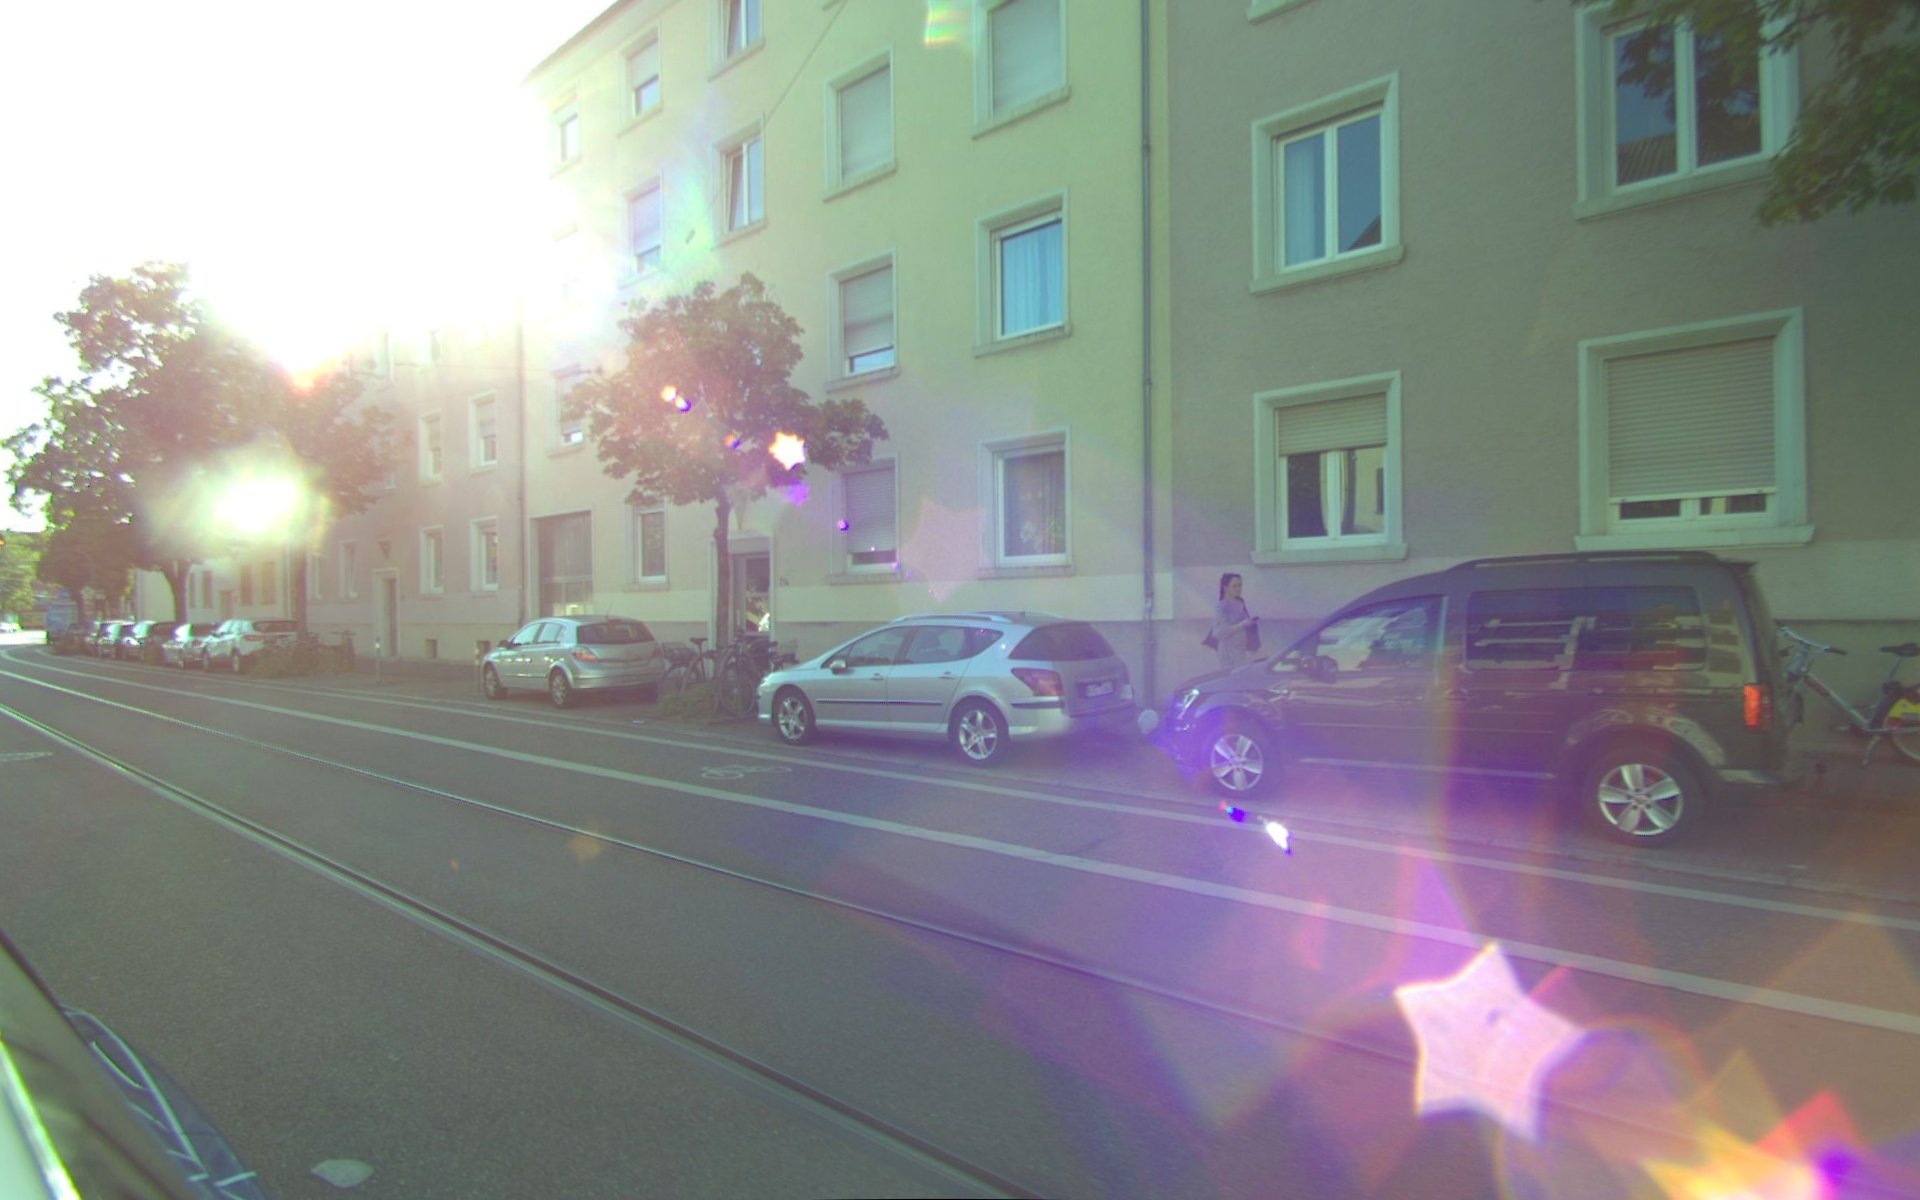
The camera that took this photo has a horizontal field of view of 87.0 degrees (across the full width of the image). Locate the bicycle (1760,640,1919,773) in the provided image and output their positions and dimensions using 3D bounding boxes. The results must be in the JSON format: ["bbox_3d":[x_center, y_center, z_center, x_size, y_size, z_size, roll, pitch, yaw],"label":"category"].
[{"bbox_3d":[7.178,0.805,7.838,1.504,0.971,0.479,-1,-1,37],"label":"bicycle"}]

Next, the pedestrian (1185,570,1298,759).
[{"bbox_3d":[2.945,0.647,10.586,0.910,1.877,0.685,-2,-1,41],"label":"pedestrian"}]

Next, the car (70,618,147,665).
[{"bbox_3d":[-34.835,1.680,41.366,4.043,1.800,1.667,-1,-1,38],"label":"car"}]

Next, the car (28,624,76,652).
[{"bbox_3d":[-51.856,2.145,57.796,3.408,1.556,1.645,-2,-1,41],"label":"car"}]

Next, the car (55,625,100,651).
[{"bbox_3d":[-54.757,2.357,62.782,3.408,1.556,1.645,-2,-1,41],"label":"car"}]

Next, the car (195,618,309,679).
[{"bbox_3d":[-20.803,1.385,29.684,4.043,1.635,1.667,-1,-1,38],"label":"car"}]

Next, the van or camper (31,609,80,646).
[{"bbox_3d":[-61.174,1.846,68.402,5.500,2.432,2.047,-2,-1,44],"label":"van or camper"}]

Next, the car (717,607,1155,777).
[{"bbox_3d":[-0.451,0.866,11.146,4.853,1.484,1.748,-2,-1,39],"label":"car"}]

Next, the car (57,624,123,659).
[{"bbox_3d":[-41.263,1.957,47.979,3.946,1.563,1.667,-1,-1,38],"label":"car"}]

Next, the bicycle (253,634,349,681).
[{"bbox_3d":[-17.641,1.527,27.144,0.530,1.151,2.123,-2,-1,37],"label":"bicycle"}]

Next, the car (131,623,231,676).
[{"bbox_3d":[-25.303,1.568,32.828,4.043,1.563,1.667,-1,-1,38],"label":"car"}]

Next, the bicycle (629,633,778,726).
[{"bbox_3d":[-3.677,1.102,14.680,0.659,1.151,2.124,-2,0,37],"label":"bicycle"}]

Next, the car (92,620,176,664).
[{"bbox_3d":[-31.451,1.561,38.495,4.043,1.563,1.667,-1,-1,38],"label":"car"}]

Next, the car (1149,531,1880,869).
[{"bbox_3d":[3.848,0.561,7.630,4.419,1.859,1.748,-2,1,39],"label":"car"}]

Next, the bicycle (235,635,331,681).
[{"bbox_3d":[-18.465,1.561,27.650,0.535,1.151,2.123,-2,-1,37],"label":"bicycle"}]

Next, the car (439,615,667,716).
[{"bbox_3d":[-7.090,1.014,17.376,4.751,1.484,1.746,-1,0,42],"label":"car"}]
